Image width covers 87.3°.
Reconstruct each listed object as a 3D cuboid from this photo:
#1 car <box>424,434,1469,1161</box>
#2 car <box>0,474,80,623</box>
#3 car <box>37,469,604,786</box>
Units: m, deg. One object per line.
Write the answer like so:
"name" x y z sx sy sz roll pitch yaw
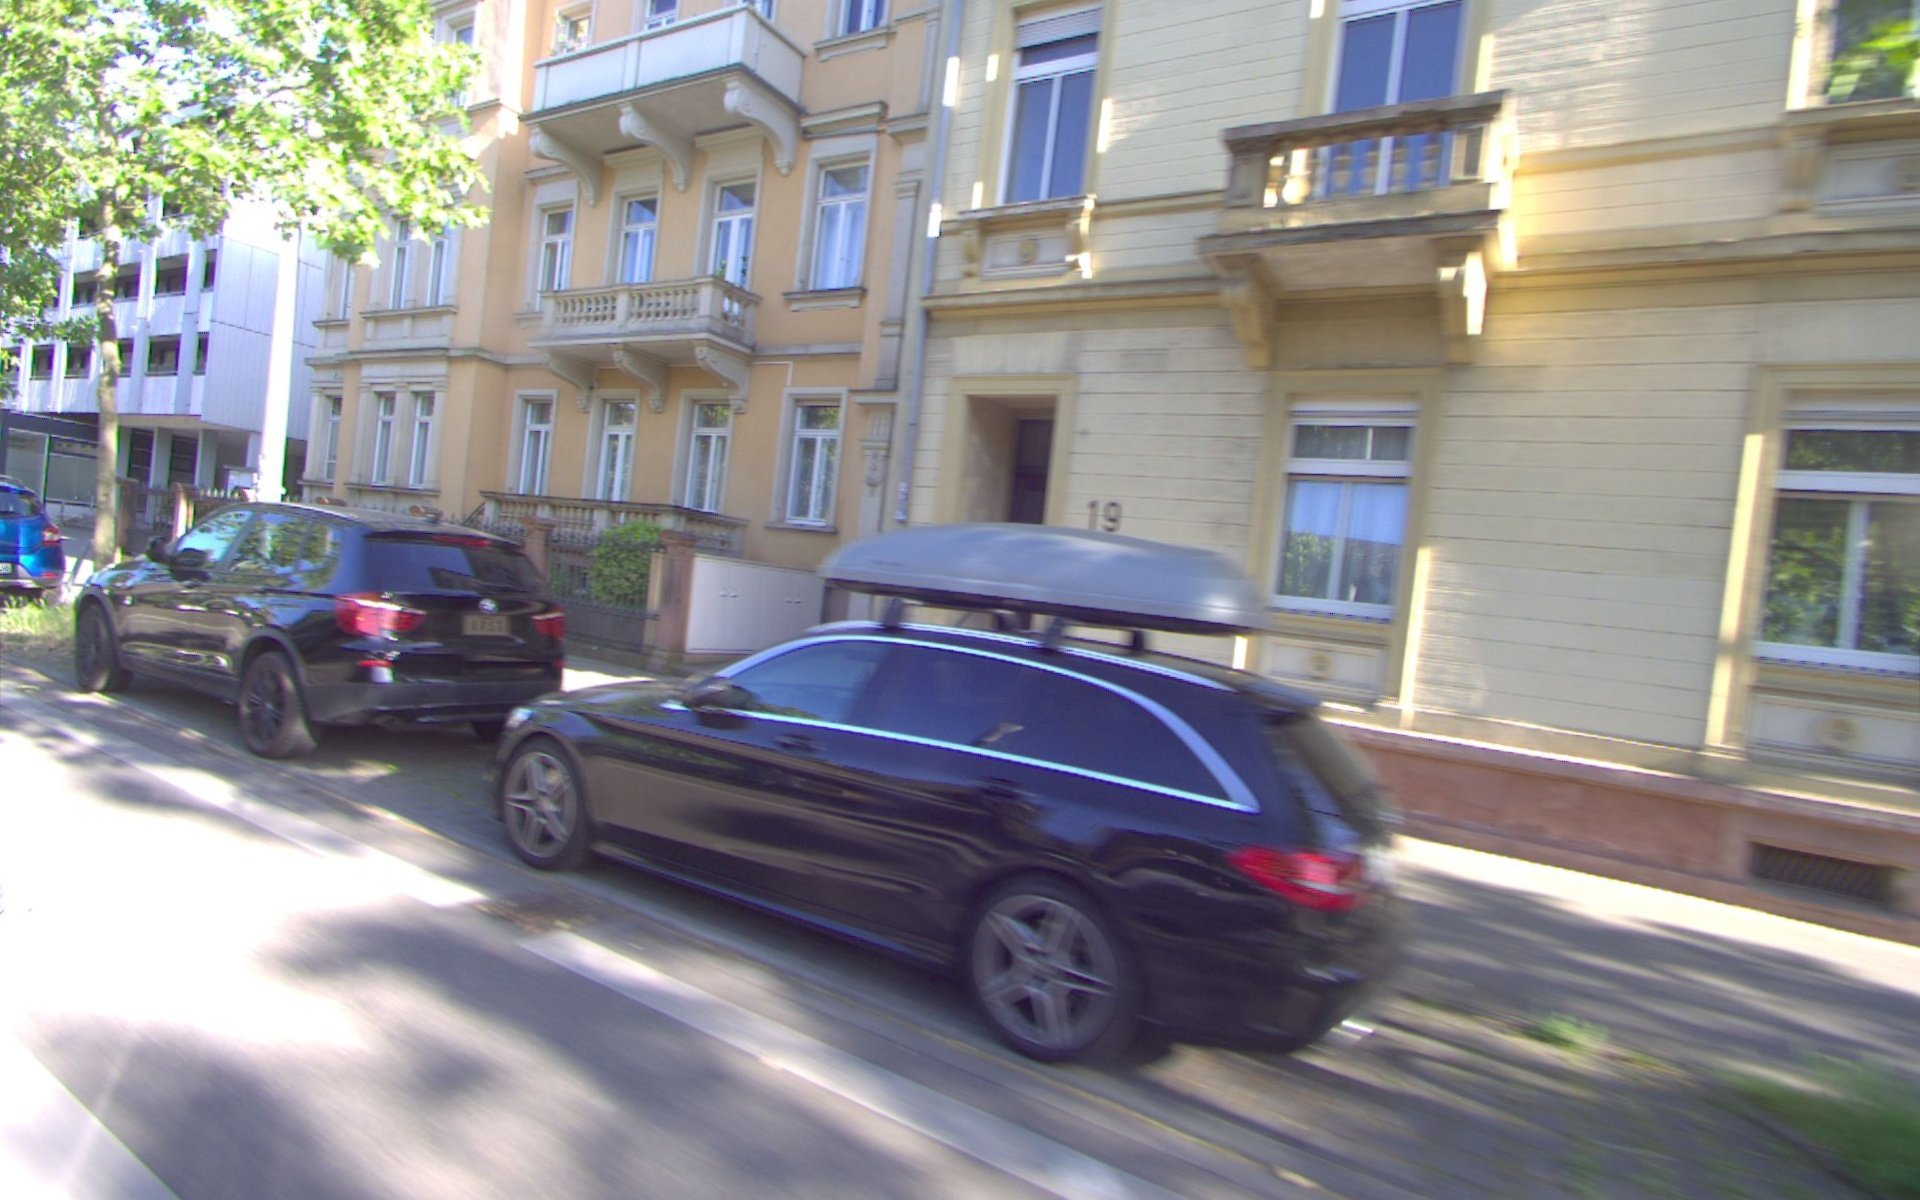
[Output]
"car" -0.320 0.440 4.870 4.658 1.989 1.757 8 0 32
"car" -13.040 -0.852 12.716 3.972 1.679 1.694 8 1 32
"car" -5.174 0.075 7.935 4.658 1.721 1.800 7 0 32
